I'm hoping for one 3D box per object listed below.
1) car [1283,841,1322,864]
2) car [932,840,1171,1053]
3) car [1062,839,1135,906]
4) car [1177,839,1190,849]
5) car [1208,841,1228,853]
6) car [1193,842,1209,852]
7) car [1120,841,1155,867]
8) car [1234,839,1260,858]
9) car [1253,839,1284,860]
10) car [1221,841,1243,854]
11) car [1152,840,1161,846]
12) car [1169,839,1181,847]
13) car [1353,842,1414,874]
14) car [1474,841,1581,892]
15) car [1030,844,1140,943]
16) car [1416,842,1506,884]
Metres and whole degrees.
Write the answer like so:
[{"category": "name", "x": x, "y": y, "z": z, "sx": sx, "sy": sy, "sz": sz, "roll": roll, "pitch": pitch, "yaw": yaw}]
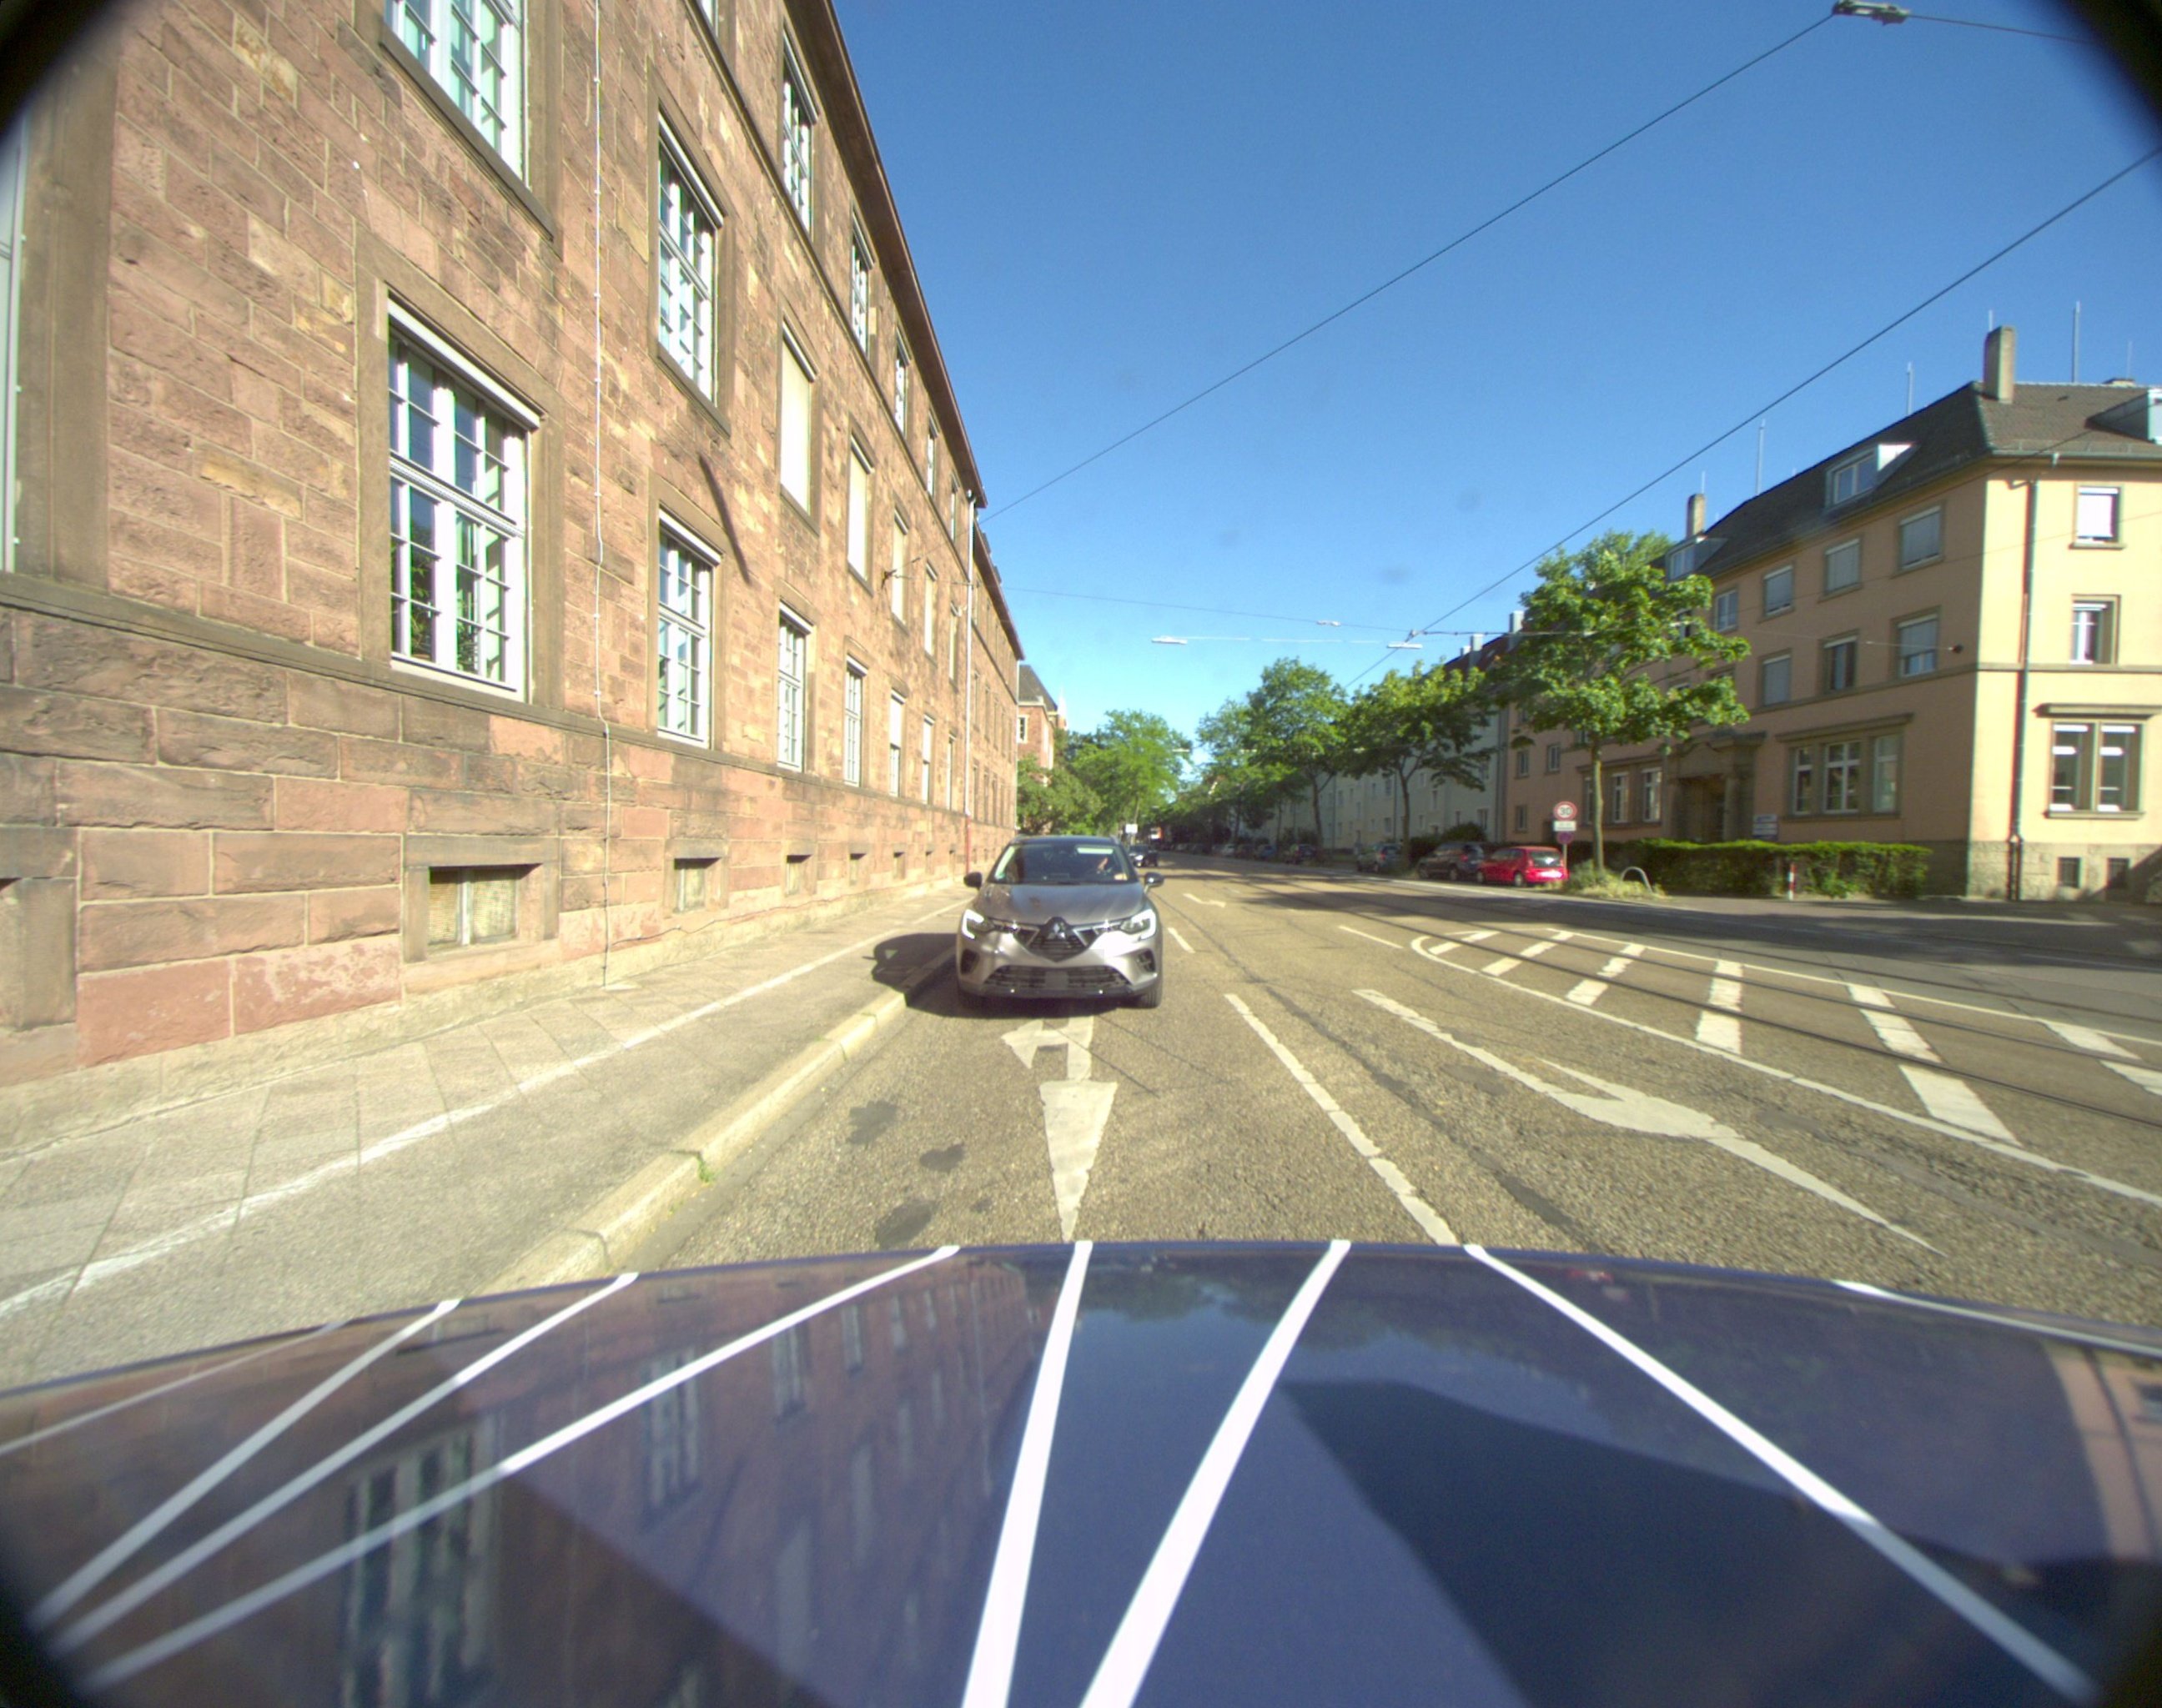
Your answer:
[{"category": "car", "x": 16.720, "y": -0.142, "z": 57.588, "sx": 1.816, "sy": 1.590, "sz": 3.629, "roll": 1, "pitch": 1, "yaw": -1}, {"category": "car", "x": -0.239, "y": 0.667, "z": 7.651, "sx": 1.795, "sy": 1.595, "sz": 3.798, "roll": 0, "pitch": 1, "yaw": -1}, {"category": "car", "x": 0.405, "y": 0.426, "z": 20.747, "sx": 1.795, "sy": 1.638, "sz": 4.082, "roll": 0, "pitch": 1, "yaw": -1}, {"category": "car", "x": 18.523, "y": -1.817, "z": 137.165, "sx": 1.816, "sy": 1.768, "sz": 3.629, "roll": 1, "pitch": 1, "yaw": -1}, {"category": "car", "x": 17.409, "y": -0.890, "z": 96.824, "sx": 1.816, "sy": 1.411, "sz": 3.629, "roll": 1, "pitch": 1, "yaw": -1}, {"category": "car", "x": 17.872, "y": -1.012, "z": 113.561, "sx": 1.816, "sy": 1.411, "sz": 3.629, "roll": 1, "pitch": 1, "yaw": -1}, {"category": "car", "x": 3.494, "y": -0.022, "z": 47.647, "sx": 1.912, "sy": 1.510, "sz": 3.999, "roll": 1, "pitch": 1, "yaw": 0}, {"category": "car", "x": 17.169, "y": -0.616, "z": 78.545, "sx": 1.816, "sy": 1.930, "sz": 3.629, "roll": 1, "pitch": 1, "yaw": -1}, {"category": "car", "x": 17.093, "y": -0.424, "z": 69.471, "sx": 1.816, "sy": 1.815, "sz": 3.794, "roll": 1, "pitch": 1, "yaw": -1}, {"category": "car", "x": 17.449, "y": -0.734, "z": 87.898, "sx": 1.816, "sy": 1.411, "sz": 3.629, "roll": 1, "pitch": 1, "yaw": -1}, {"category": "car", "x": 19.191, "y": -2.810, "z": 193.232, "sx": 1.816, "sy": 1.411, "sz": 3.629, "roll": 1, "pitch": 1, "yaw": -1}, {"category": "car", "x": 18.384, "y": -2.223, "z": 148.806, "sx": 1.816, "sy": 1.514, "sz": 3.629, "roll": 1, "pitch": 1, "yaw": -1}, {"category": "car", "x": 16.398, "y": 0.176, "z": 41.353, "sx": 1.816, "sy": 1.649, "sz": 3.876, "roll": 1, "pitch": 1, "yaw": 1}, {"category": "car", "x": 16.304, "y": 0.410, "z": 27.939, "sx": 1.816, "sy": 1.696, "sz": 3.373, "roll": 1, "pitch": 1, "yaw": -3}, {"category": "car", "x": 0.048, "y": 0.620, "z": 14.308, "sx": 1.795, "sy": 1.595, "sz": 3.798, "roll": 0, "pitch": 1, "yaw": -1}, {"category": "car", "x": 16.167, "y": 0.347, "z": 32.549, "sx": 1.816, "sy": 1.649, "sz": 3.818, "roll": 1, "pitch": 1, "yaw": -2}]
